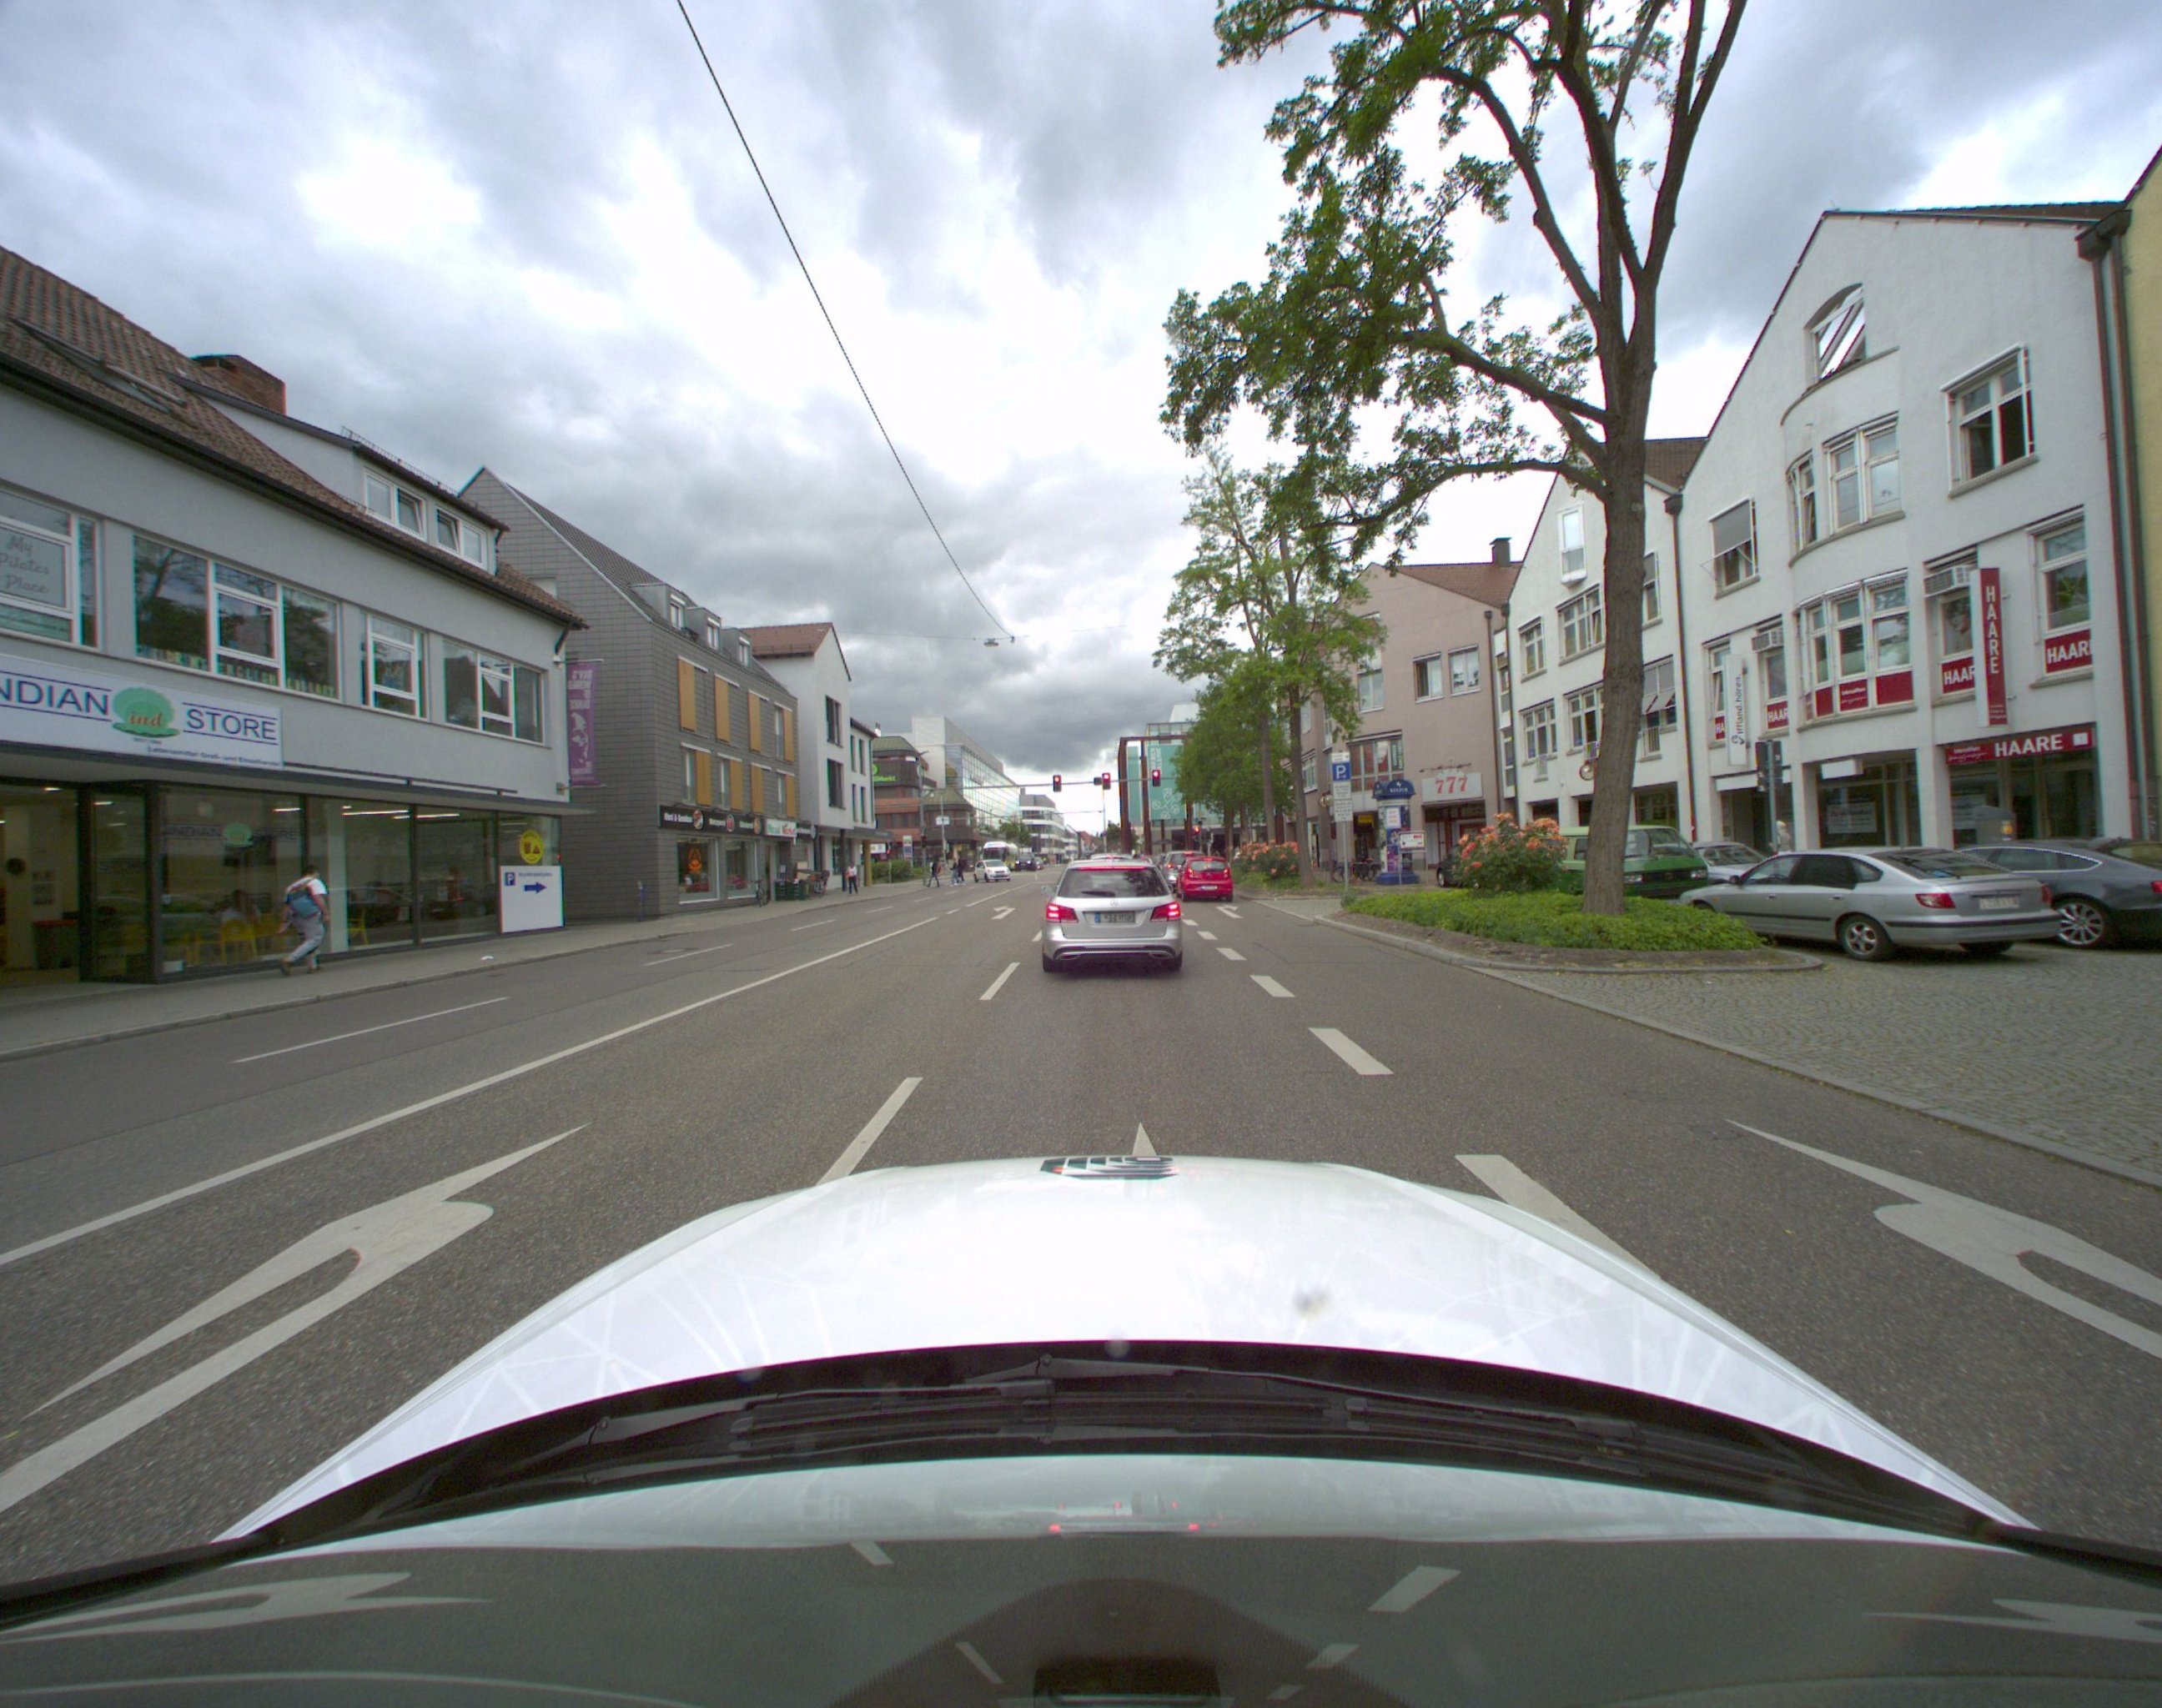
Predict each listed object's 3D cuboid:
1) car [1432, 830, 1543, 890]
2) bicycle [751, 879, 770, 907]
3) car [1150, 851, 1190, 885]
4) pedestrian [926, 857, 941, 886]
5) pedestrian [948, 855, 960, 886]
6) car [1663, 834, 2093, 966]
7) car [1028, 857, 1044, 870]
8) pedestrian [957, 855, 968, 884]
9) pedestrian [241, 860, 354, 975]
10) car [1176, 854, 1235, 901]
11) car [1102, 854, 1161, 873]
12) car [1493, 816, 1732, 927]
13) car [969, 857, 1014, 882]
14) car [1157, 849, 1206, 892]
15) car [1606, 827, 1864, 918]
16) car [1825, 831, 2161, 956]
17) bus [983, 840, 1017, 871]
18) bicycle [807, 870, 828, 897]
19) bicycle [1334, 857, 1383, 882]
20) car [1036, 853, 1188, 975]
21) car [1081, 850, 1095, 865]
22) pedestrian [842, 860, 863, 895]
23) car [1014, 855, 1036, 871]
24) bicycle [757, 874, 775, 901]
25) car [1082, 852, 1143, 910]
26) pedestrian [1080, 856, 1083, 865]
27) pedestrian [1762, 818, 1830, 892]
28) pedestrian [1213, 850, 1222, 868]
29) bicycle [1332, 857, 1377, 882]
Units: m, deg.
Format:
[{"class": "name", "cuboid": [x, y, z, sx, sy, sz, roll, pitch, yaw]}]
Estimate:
[{"class": "car", "cuboid": [13.795, 0.183, 27.905, 1.633, 1.831, 3.964, -3, 0, -2]}, {"class": "bicycle", "cuboid": [-11.999, 1.445, 30.490, 0.325, 0.954, 1.479, -2, 0, -9]}, {"class": "car", "cuboid": [4.343, 0.681, 40.239, 1.581, 1.595, 3.868, 0, 0, 1]}, {"class": "pedestrian", "cuboid": [-8.667, 1.016, 47.875, 0.646, 1.650, 0.562, -2, 0, 23]}, {"class": "pedestrian", "cuboid": [-7.538, 0.973, 48.413, 0.646, 1.790, 0.682, -2, 0, -9]}, {"class": "car", "cuboid": [10.730, 0.532, 11.557, 1.757, 1.450, 4.419, -2, 0, 0]}, {"class": "car", "cuboid": [-5.254, 1.096, 95.734, 1.549, 1.392, 3.288, -2, 0, 1]}, {"class": "pedestrian", "cuboid": [-7.241, 0.945, 49.808, 0.644, 1.775, 0.569, -2, 0, -9]}, {"class": "pedestrian", "cuboid": [-12.129, 0.953, 12.646, 0.751, 1.705, 0.981, 1, 0, 2]}, {"class": "car", "cuboid": [4.083, 0.740, 27.171, 1.580, 1.443, 3.350, 0, 0, 2]}, {"class": "car", "cuboid": [4.071, 0.734, 65.652, 4.695, 1.369, 1.965, -2, 0, 3]}, {"class": "car", "cuboid": [10.645, 0.320, 16.832, 1.874, 1.876, 4.605, -3, 0, 0]}, {"class": "car", "cuboid": [-5.918, 1.044, 53.464, 1.584, 1.488, 3.430, -3, 0, -30]}, {"class": "car", "cuboid": [4.033, 0.633, 33.235, 1.581, 1.634, 3.916, 0, 0, 1]}, {"class": "car", "cuboid": [13.303, 0.338, 16.998, 1.790, 1.542, 4.394, -3, 0, 0]}, {"class": "car", "cuboid": [13.480, 0.439, 11.435, 1.990, 1.376, 4.419, -3, 0, 0]}, {"class": "bus", "cuboid": [-8.922, 0.146, 91.058, 2.677, 3.261, 8.655, -2, 0, 1]}, {"class": "bicycle", "cuboid": [-12.076, 1.333, 37.353, 0.385, 1.186, 1.825, -2, 0, -1]}, {"class": "bicycle", "cuboid": [11.865, 0.646, 34.885, 1.891, 0.997, 0.468, -2, 0, 6]}, {"class": "car", "cuboid": [0.463, 0.725, 11.897, 1.808, 1.448, 4.372, 0, 0, 2]}, {"class": "car", "cuboid": [1.039, 0.485, 116.760, 1.986, 1.949, 4.951, -2, 0, 1]}, {"class": "pedestrian", "cuboid": [-10.921, 1.110, 38.883, 0.725, 1.610, 0.753, -2, 0, 2]}, {"class": "car", "cuboid": [-6.002, 0.944, 88.146, 1.986, 1.706, 4.065, -2, 0, 1]}, {"class": "bicycle", "cuboid": [-13.366, 1.413, 34.620, 0.386, 1.127, 1.286, -2, 0, -8]}, {"class": "car", "cuboid": [0.912, 0.718, 23.586, 1.633, 1.527, 3.395, -1, 0, 2]}, {"class": "pedestrian", "cuboid": [0.089, 1.334, 168.969, 0.515, 1.734, 0.492, -2, 0, 22]}, {"class": "pedestrian", "cuboid": [16.783, 0.017, 19.141, 0.786, 1.659, 0.819, -4, 0, 2]}, {"class": "pedestrian", "cuboid": [12.684, 0.429, 75.593, 0.652, 1.650, 0.557, -2, 0, -13]}, {"class": "bicycle", "cuboid": [11.896, 0.667, 35.431, 1.759, 0.997, 0.447, -2, 0, 6]}]
